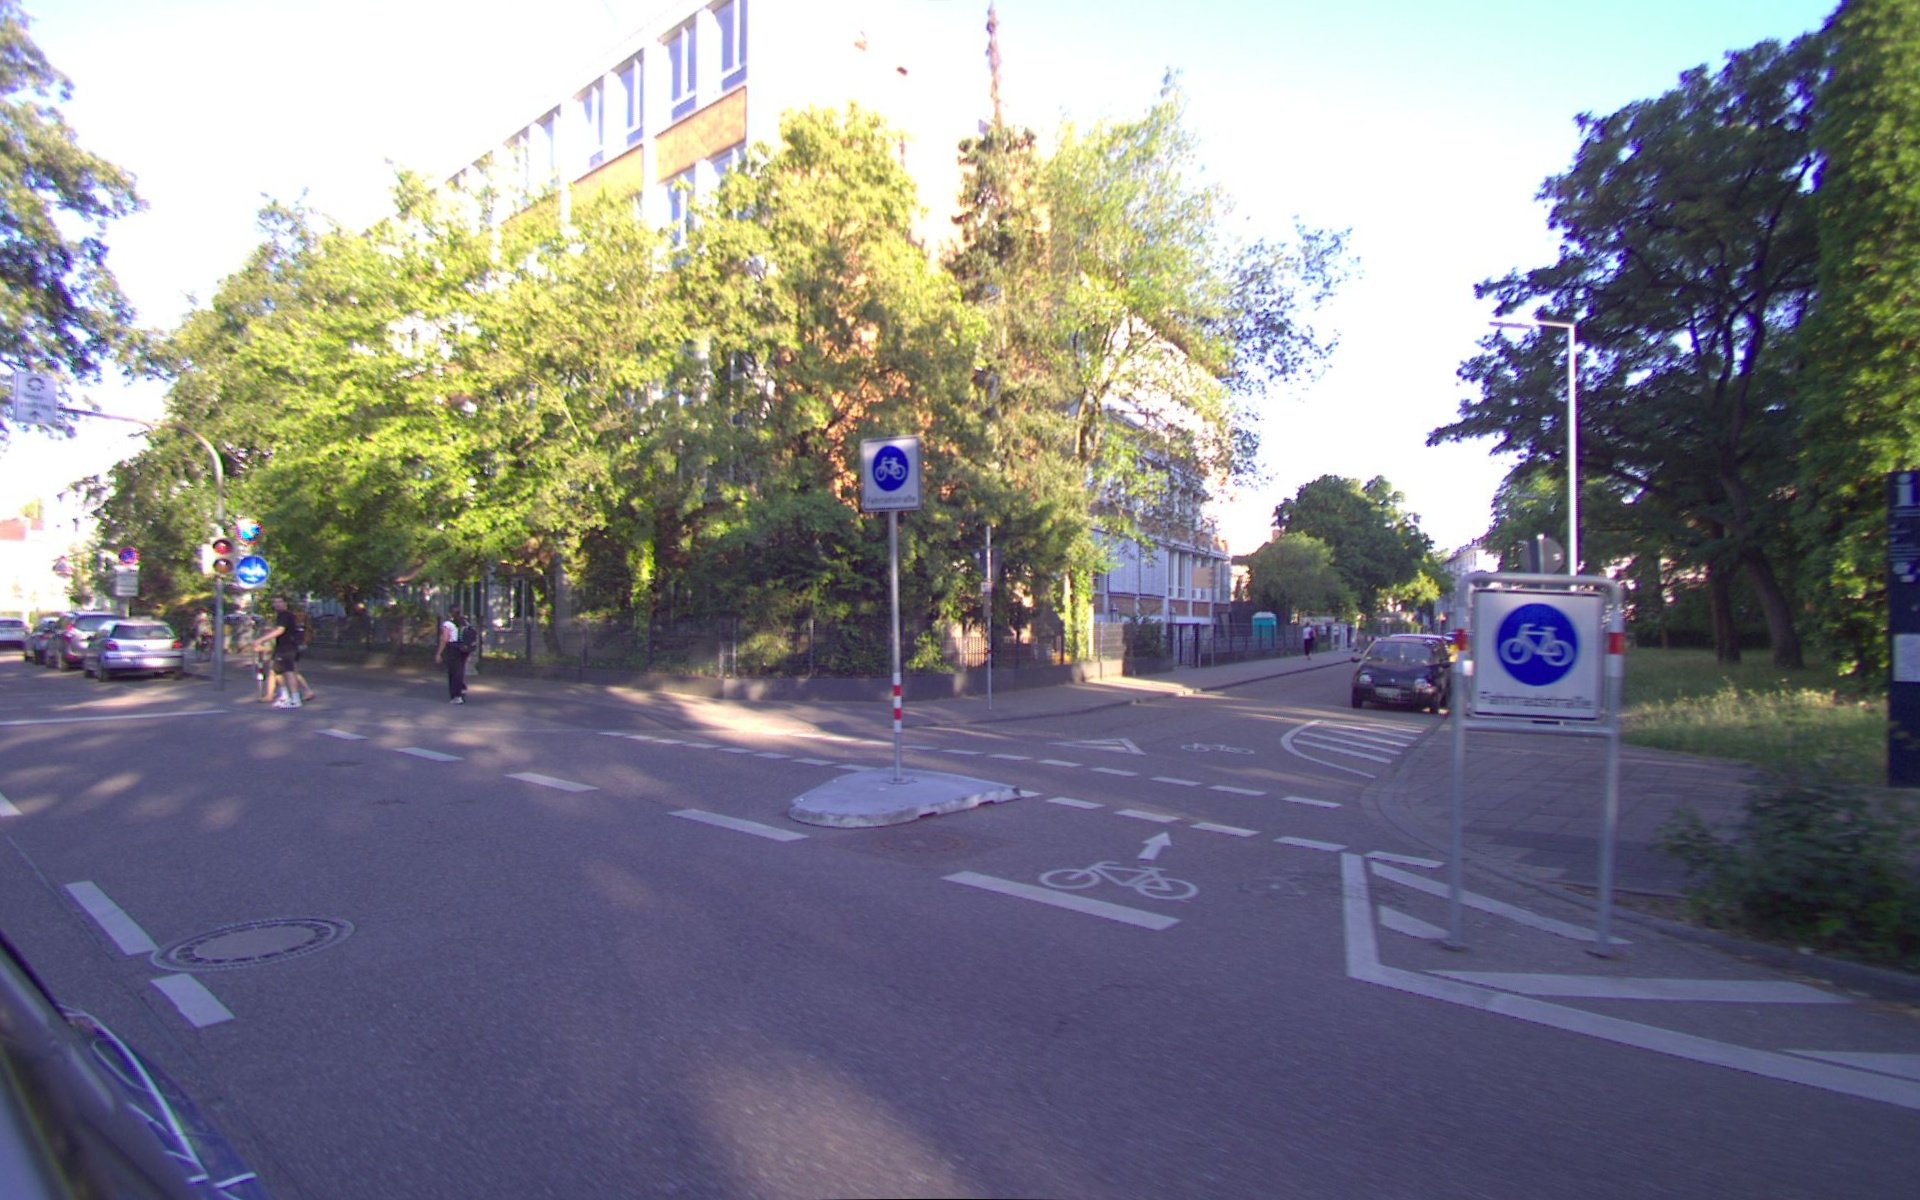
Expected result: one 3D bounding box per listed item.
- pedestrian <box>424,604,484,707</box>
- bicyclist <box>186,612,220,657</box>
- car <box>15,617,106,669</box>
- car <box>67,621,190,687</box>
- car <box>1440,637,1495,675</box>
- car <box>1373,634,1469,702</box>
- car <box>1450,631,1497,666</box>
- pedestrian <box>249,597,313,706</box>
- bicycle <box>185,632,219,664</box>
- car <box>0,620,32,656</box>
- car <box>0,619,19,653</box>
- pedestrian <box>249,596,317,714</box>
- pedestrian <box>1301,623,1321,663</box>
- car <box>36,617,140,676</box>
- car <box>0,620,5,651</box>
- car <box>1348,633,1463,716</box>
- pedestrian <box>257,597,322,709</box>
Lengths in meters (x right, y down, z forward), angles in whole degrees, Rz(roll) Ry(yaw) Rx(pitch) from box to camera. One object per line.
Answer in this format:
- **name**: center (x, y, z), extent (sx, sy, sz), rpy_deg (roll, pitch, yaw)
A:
- **pedestrian**: center (-8.579, 0.923, 17.166), extent (0.785, 1.688, 0.663), rpy_deg (-2, 0, 44)
- **bicyclist**: center (-24.945, 1.143, 33.349), extent (0.741, 1.465, 1.060), rpy_deg (2, -3, -44)
- **car**: center (-29.526, 1.372, 33.191), extent (4.107, 1.580, 1.753), rpy_deg (-1, -1, 41)
- **car**: center (-20.904, 1.303, 25.401), extent (4.107, 1.494, 1.753), rpy_deg (-1, -1, 41)
- **car**: center (19.016, 2.069, 37.847), extent (1.623, 1.302, 3.762), rpy_deg (-1, -2, 30)
- **car**: center (11.135, 1.565, 24.337), extent (1.770, 1.417, 3.608), rpy_deg (2, -1, 30)
- **car**: center (23.659, 2.193, 46.560), extent (1.733, 1.564, 3.959), rpy_deg (-1, -2, 30)
- **pedestrian**: center (-11.905, 0.885, 17.742), extent (0.673, 1.850, 0.773), rpy_deg (-2, 0, 44)
- **bicycle**: center (-25.028, 1.565, 33.400), extent (0.616, 1.021, 2.149), rpy_deg (2, -3, -44)
- **car**: center (-43.038, 1.688, 45.326), extent (4.107, 1.580, 1.753), rpy_deg (-1, -1, 41)
- **car**: center (-46.631, 1.739, 48.550), extent (4.107, 1.580, 1.753), rpy_deg (-1, -1, 41)
- **pedestrian**: center (-11.085, 0.875, 16.565), extent (0.673, 1.850, 0.773), rpy_deg (-2, 0, 44)
- **pedestrian**: center (15.590, 1.900, 44.945), extent (0.742, 1.753, 0.651), rpy_deg (-1, -2, 29)
- **car**: center (-25.463, 1.305, 29.500), extent (4.107, 1.580, 1.753), rpy_deg (-1, -1, 41)
- **car**: center (-50.046, 1.817, 51.510), extent (4.107, 1.580, 1.753), rpy_deg (-1, -1, 41)
- **car**: center (9.275, 1.464, 20.905), extent (1.770, 1.460, 3.922), rpy_deg (2, -1, 30)
- **pedestrian**: center (-11.407, 0.878, 17.222), extent (0.673, 1.850, 0.773), rpy_deg (-2, 0, 44)
